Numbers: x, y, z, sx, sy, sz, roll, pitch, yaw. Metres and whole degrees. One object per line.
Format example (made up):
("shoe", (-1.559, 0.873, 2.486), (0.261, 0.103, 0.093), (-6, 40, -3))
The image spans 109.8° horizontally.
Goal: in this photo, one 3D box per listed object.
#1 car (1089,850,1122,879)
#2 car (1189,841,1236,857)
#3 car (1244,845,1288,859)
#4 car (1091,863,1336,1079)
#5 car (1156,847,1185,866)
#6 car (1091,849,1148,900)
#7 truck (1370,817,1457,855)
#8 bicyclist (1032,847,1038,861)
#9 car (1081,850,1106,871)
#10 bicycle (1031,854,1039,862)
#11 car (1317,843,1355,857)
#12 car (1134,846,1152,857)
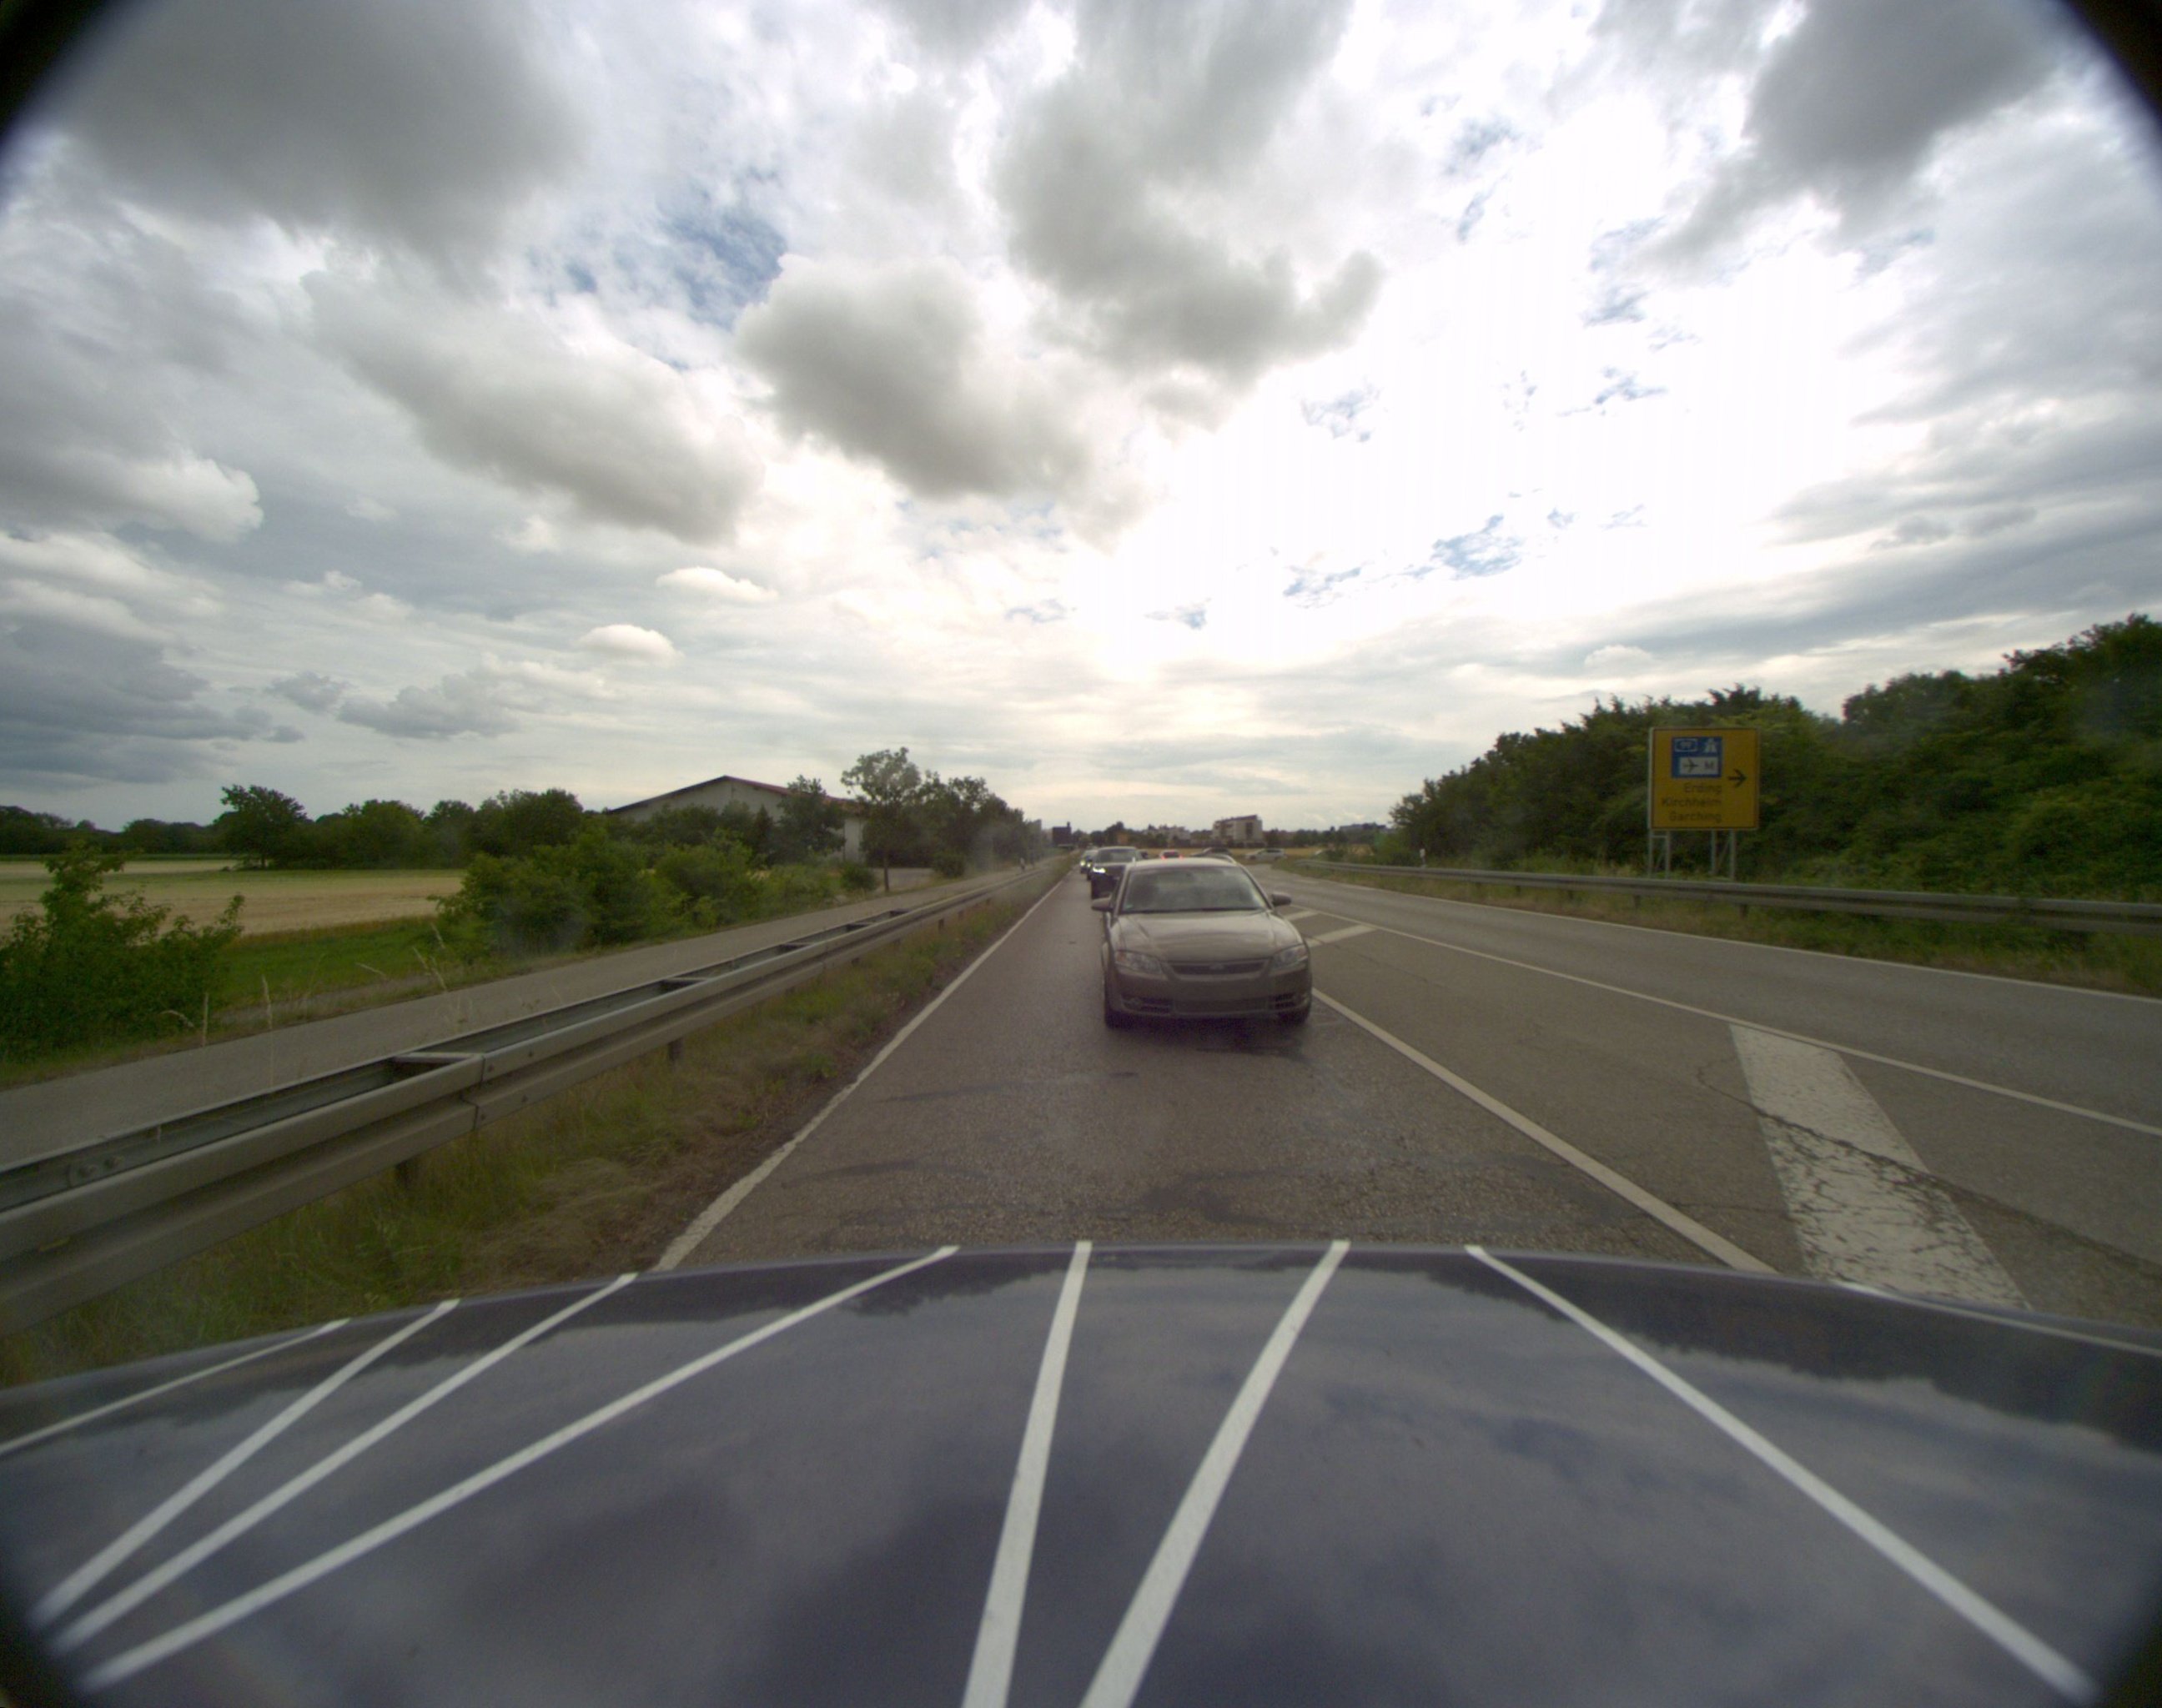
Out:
("car", (1.310, 0.558, 42.221), (1.730, 1.478, 4.204), (-2, 1, 1))
("car", (14.676, -0.552, 85.044), (4.815, 1.680, 1.999), (-1, 1, -3))
("car", (20.594, -0.247, 84.920), (4.672, 1.490, 2.001), (-1, 1, 10))
("car", (0.982, 0.870, 7.560), (1.730, 1.436, 4.204), (-1, 1, 1))
("car", (7.298, 0.202, 62.316), (1.804, 1.442, 4.445), (-1, 1, 0))
("car", (1.249, 0.639, 25.975), (1.730, 1.534, 4.204), (-2, 1, 1))
("truck", (33.779, -1.801, 77.258), (7.606, 3.542, 2.930), (-3, 1, -10))
("bicyclist", (-5.222, -0.026, 86.318), (0.640, 1.573, 0.969), (-1, 1, 1))
("car", (0.916, 0.468, 55.748), (1.730, 1.436, 4.204), (-2, 1, 1))
("bicycle", (-5.217, 0.450, 86.347), (0.640, 0.973, 2.072), (-1, 1, 1))
("car", (27.962, -0.445, 83.407), (3.714, 1.490, 1.731), (-1, 1, 8))
("car", (8.739, -0.321, 107.654), (1.999, 1.481, 3.837), (-1, 1, -3))
